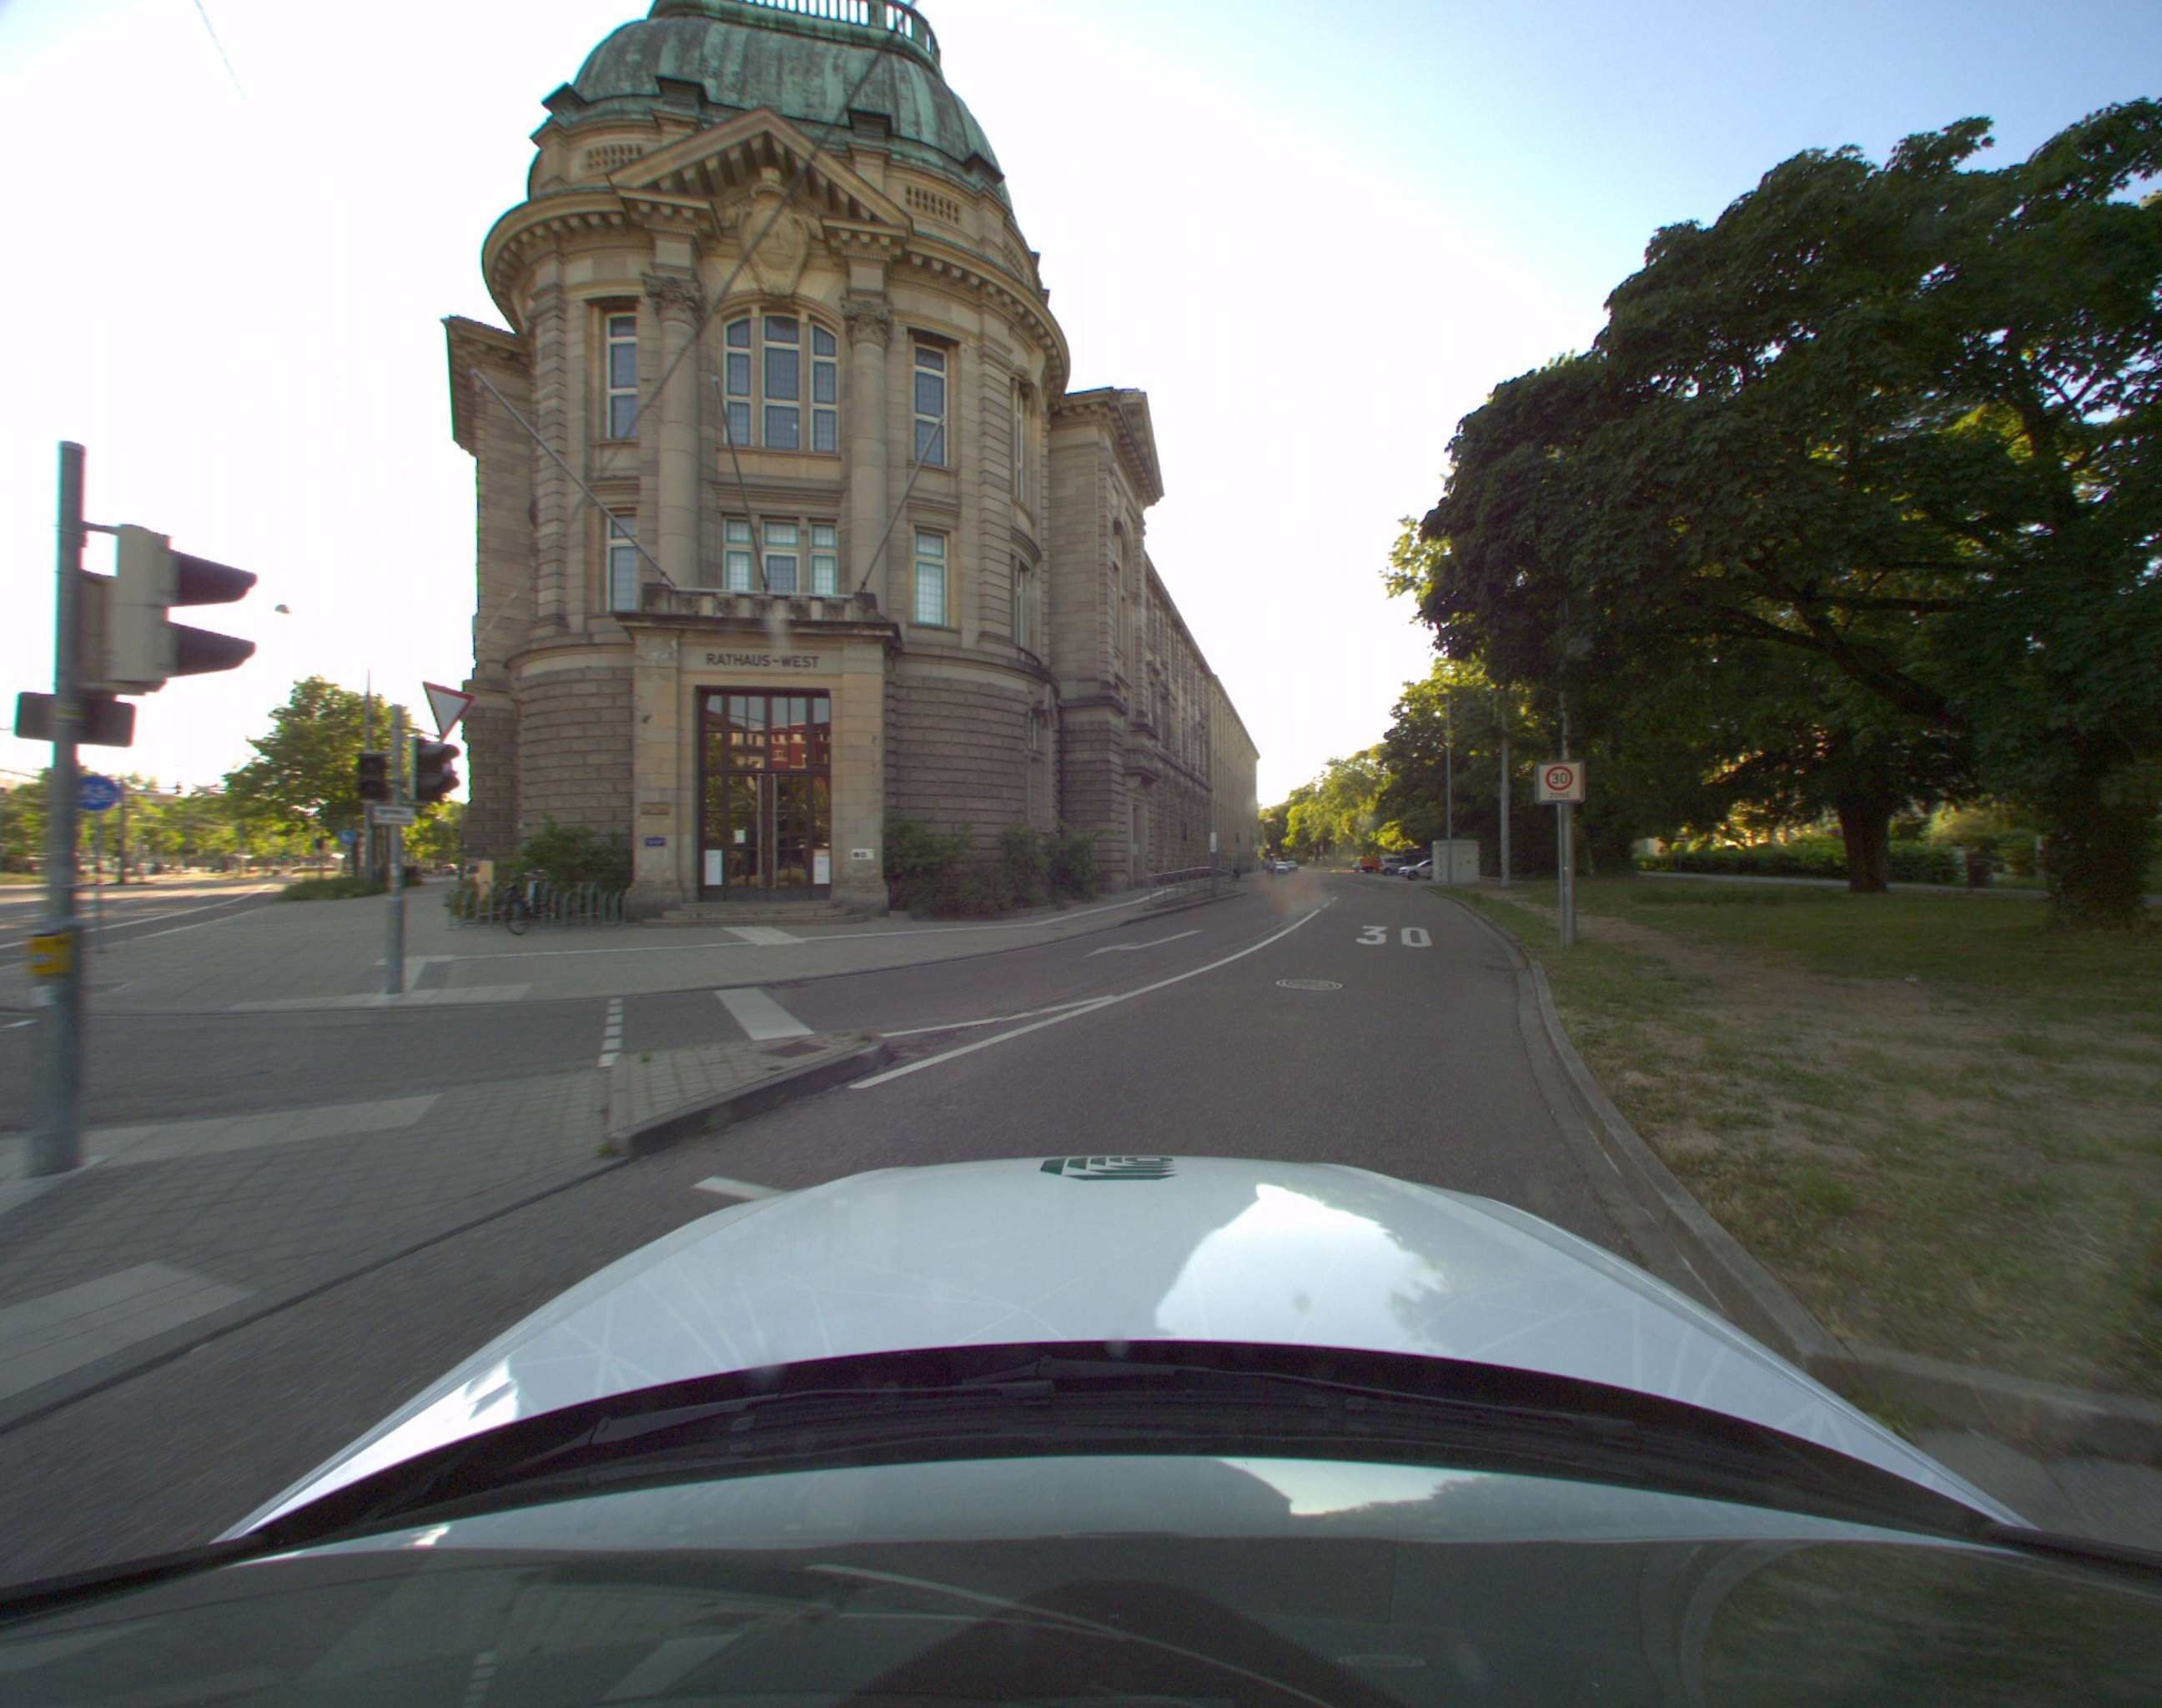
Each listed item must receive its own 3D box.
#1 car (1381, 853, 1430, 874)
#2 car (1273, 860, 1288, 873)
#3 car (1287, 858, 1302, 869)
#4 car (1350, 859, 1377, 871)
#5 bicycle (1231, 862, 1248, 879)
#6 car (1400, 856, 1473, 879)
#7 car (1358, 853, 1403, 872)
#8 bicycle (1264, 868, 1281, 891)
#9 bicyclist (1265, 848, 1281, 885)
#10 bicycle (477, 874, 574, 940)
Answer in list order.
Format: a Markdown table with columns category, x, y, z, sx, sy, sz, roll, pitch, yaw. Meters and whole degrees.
| category | x | y | z | sx | sy | sz | roll | pitch | yaw |
| --- | --- | --- | --- | --- | --- | --- | --- | --- | --- |
| car | 31.288 | 0.911 | 78.554 | 4.196 | 1.860 | 2.009 | -2 | -2 | 16 |
| car | 23.809 | 1.482 | 97.155 | 1.715 | 1.397 | 4.388 | 0 | -1 | 13 |
| car | 29.827 | 1.297 | 113.677 | 1.866 | 1.466 | 4.388 | -1 | 0 | 13 |
| car | 37.314 | 1.441 | 107.666 | 3.125 | 1.503 | 1.544 | -2 | -1 | 9 |
| bicycle | 10.810 | 1.118 | 55.424 | 0.845 | 1.101 | 1.992 | 1 | 0 | 20 |
| car | 24.856 | 0.937 | 57.117 | 4.408 | 1.469 | 1.789 | -2 | -1 | 15 |
| car | 35.747 | 1.040 | 97.284 | 4.790 | 2.014 | 1.806 | -2 | -1 | 9 |
| bicycle | 9.370 | 1.209 | 39.723 | 0.657 | 1.070 | 2.163 | -1 | -1 | 17 |
| bicyclist | 9.408 | 0.602 | 39.869 | 0.640 | 1.807 | 0.784 | -1 | -1 | 17 |
| bicycle | -11.125 | 1.015 | 16.409 | 0.868 | 1.196 | 2.229 | -1 | -1 | -13 |
